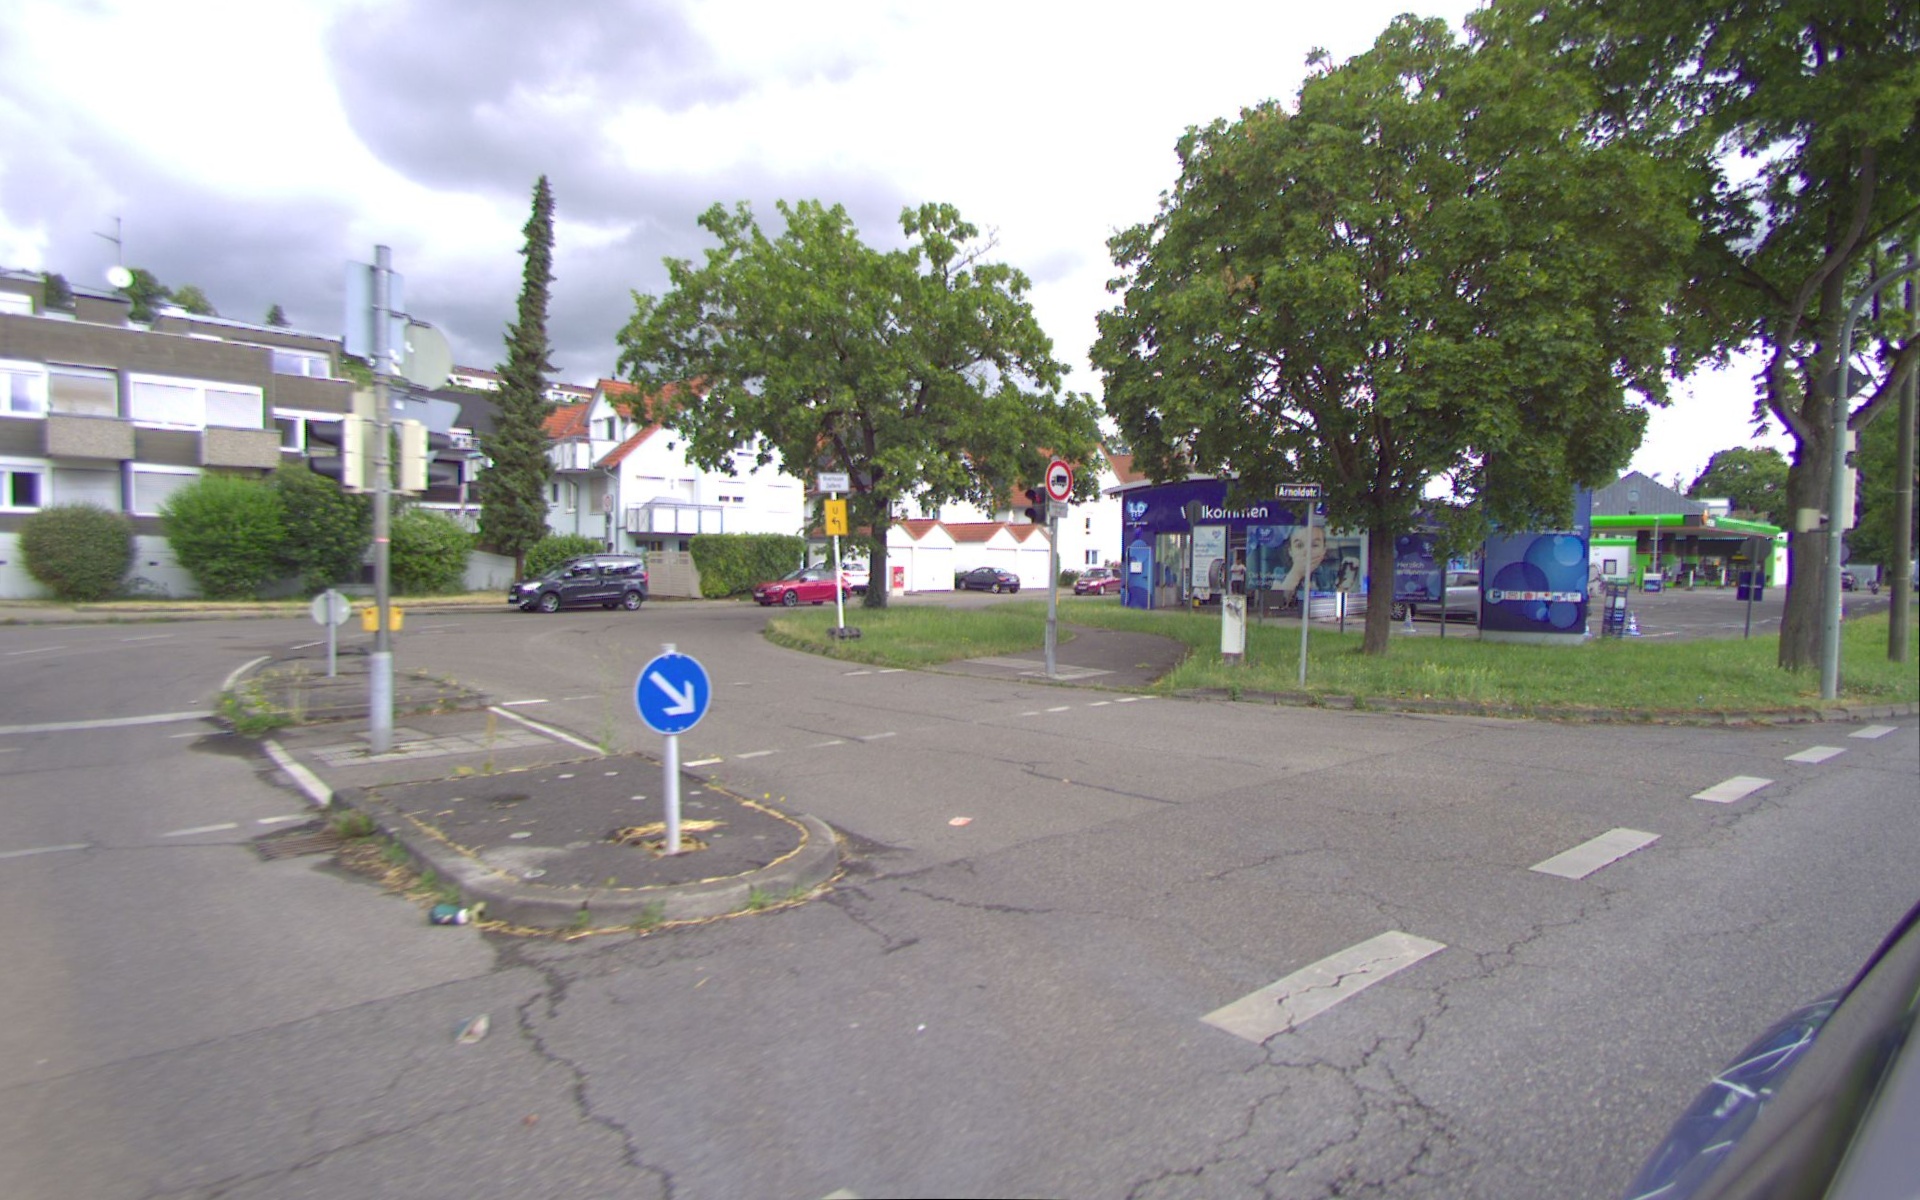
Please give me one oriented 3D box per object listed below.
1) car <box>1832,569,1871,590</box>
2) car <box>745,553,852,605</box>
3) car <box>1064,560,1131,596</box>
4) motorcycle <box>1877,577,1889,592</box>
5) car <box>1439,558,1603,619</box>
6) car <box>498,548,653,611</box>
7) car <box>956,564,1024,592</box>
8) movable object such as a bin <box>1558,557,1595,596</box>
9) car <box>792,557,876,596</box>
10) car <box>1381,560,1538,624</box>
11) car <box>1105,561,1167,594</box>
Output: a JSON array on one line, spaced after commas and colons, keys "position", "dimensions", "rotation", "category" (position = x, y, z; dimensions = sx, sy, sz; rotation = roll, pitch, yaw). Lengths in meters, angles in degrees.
[{"position": [79.274, -1.859, 89.944], "dimensions": [4.252, 1.658, 1.998], "rotation": [-1, 6, -41], "category": "car"}, {"position": [-6.161, -0.796, 38.814], "dimensions": [1.616, 1.865, 3.861], "rotation": [-1, 1, 45], "category": "car"}, {"position": [7.560, -1.208, 55.483], "dimensions": [1.935, 1.865, 4.199], "rotation": [-1, 1, 35], "category": "car"}, {"position": [76.942, -1.331, 84.378], "dimensions": [0.702, 1.201, 2.353], "rotation": [3, 3, 42], "category": "motorcycle"}, {"position": [18.471, -0.425, 33.486], "dimensions": [4.308, 1.843, 1.749], "rotation": [2, 2, 6], "category": "car"}, {"position": [-12.215, -0.643, 32.348], "dimensions": [1.717, 1.865, 4.339], "rotation": [-1, 1, 44], "category": "car"}, {"position": [1.587, -1.175, 55.133], "dimensions": [1.745, 1.475, 3.553], "rotation": [-1, 1, -41], "category": "car"}, {"position": [29.695, -1.130, 48.761], "dimensions": [1.159, 1.841, 1.432], "rotation": [3, 3, 44], "category": "movable object such as a bin"}, {"position": [-5.921, -1.072, 47.341], "dimensions": [3.798, 1.716, 1.891], "rotation": [0, 1, 42], "category": "car"}, {"position": [15.391, -0.288, 31.261], "dimensions": [4.176, 1.718, 1.822], "rotation": [3, 2, 29], "category": "car"}, {"position": [10.502, -1.338, 60.020], "dimensions": [1.935, 1.865, 4.411], "rotation": [-1, 1, 35], "category": "car"}]
